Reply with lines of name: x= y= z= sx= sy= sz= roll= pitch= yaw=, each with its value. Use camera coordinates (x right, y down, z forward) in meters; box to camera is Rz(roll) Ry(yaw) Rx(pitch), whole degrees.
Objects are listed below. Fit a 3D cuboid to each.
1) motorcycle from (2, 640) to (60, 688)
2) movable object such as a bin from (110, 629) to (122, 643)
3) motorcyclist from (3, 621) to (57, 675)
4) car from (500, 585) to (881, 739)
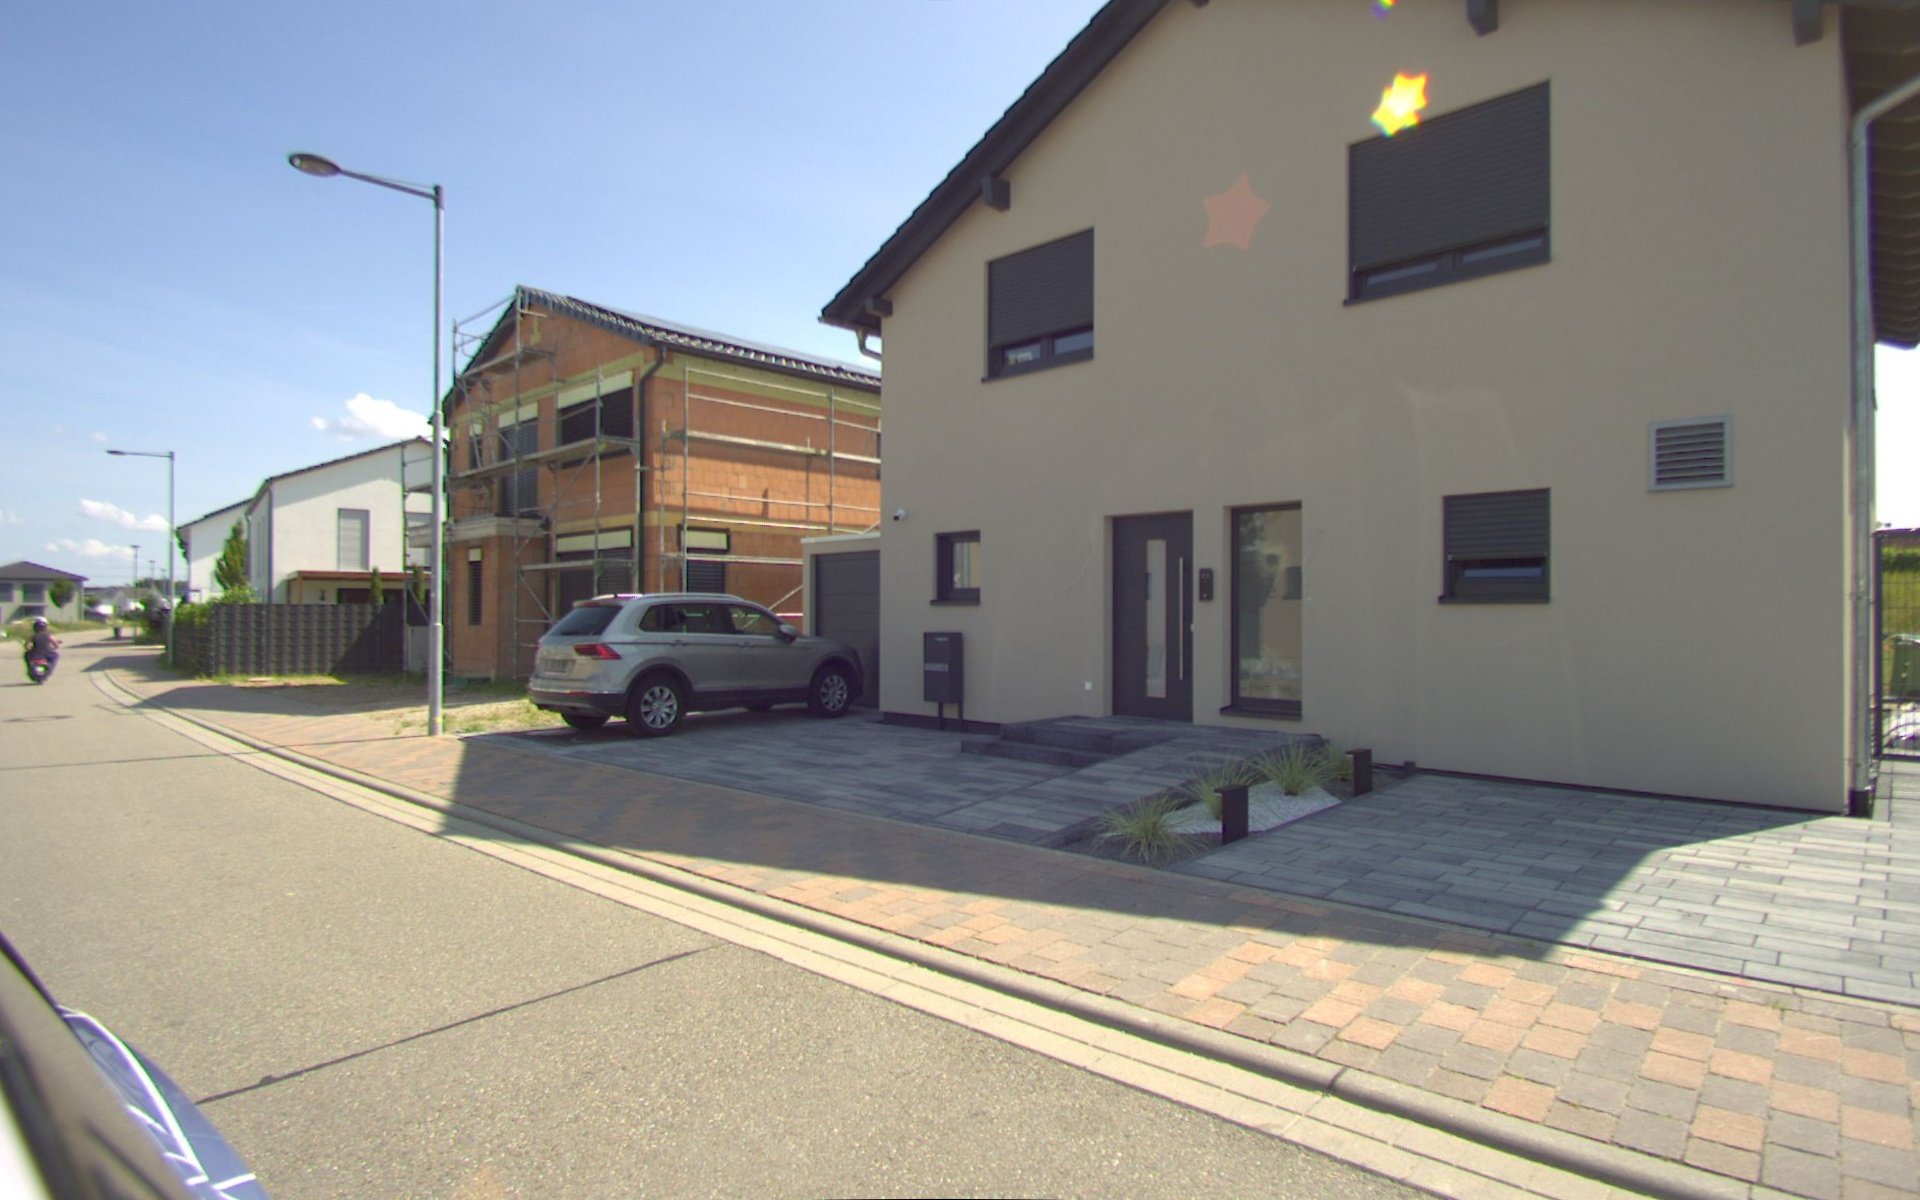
motorcycle: x=-22.857 y=1.552 z=24.936 sx=0.944 sy=1.043 sz=2.440 roll=-2 pitch=0 yaw=-41
movable object such as a bin: x=-56.618 y=2.407 z=67.909 sx=0.588 sy=0.928 sz=0.462 roll=0 pitch=-1 yaw=-36
motorcyclist: x=-22.874 y=1.168 z=24.920 sx=0.913 sy=1.232 sz=0.805 roll=-3 pitch=0 yaw=-42
car: x=-3.264 y=0.705 z=12.985 sx=1.999 sy=1.624 sz=4.379 roll=-1 pitch=-2 yaw=41
